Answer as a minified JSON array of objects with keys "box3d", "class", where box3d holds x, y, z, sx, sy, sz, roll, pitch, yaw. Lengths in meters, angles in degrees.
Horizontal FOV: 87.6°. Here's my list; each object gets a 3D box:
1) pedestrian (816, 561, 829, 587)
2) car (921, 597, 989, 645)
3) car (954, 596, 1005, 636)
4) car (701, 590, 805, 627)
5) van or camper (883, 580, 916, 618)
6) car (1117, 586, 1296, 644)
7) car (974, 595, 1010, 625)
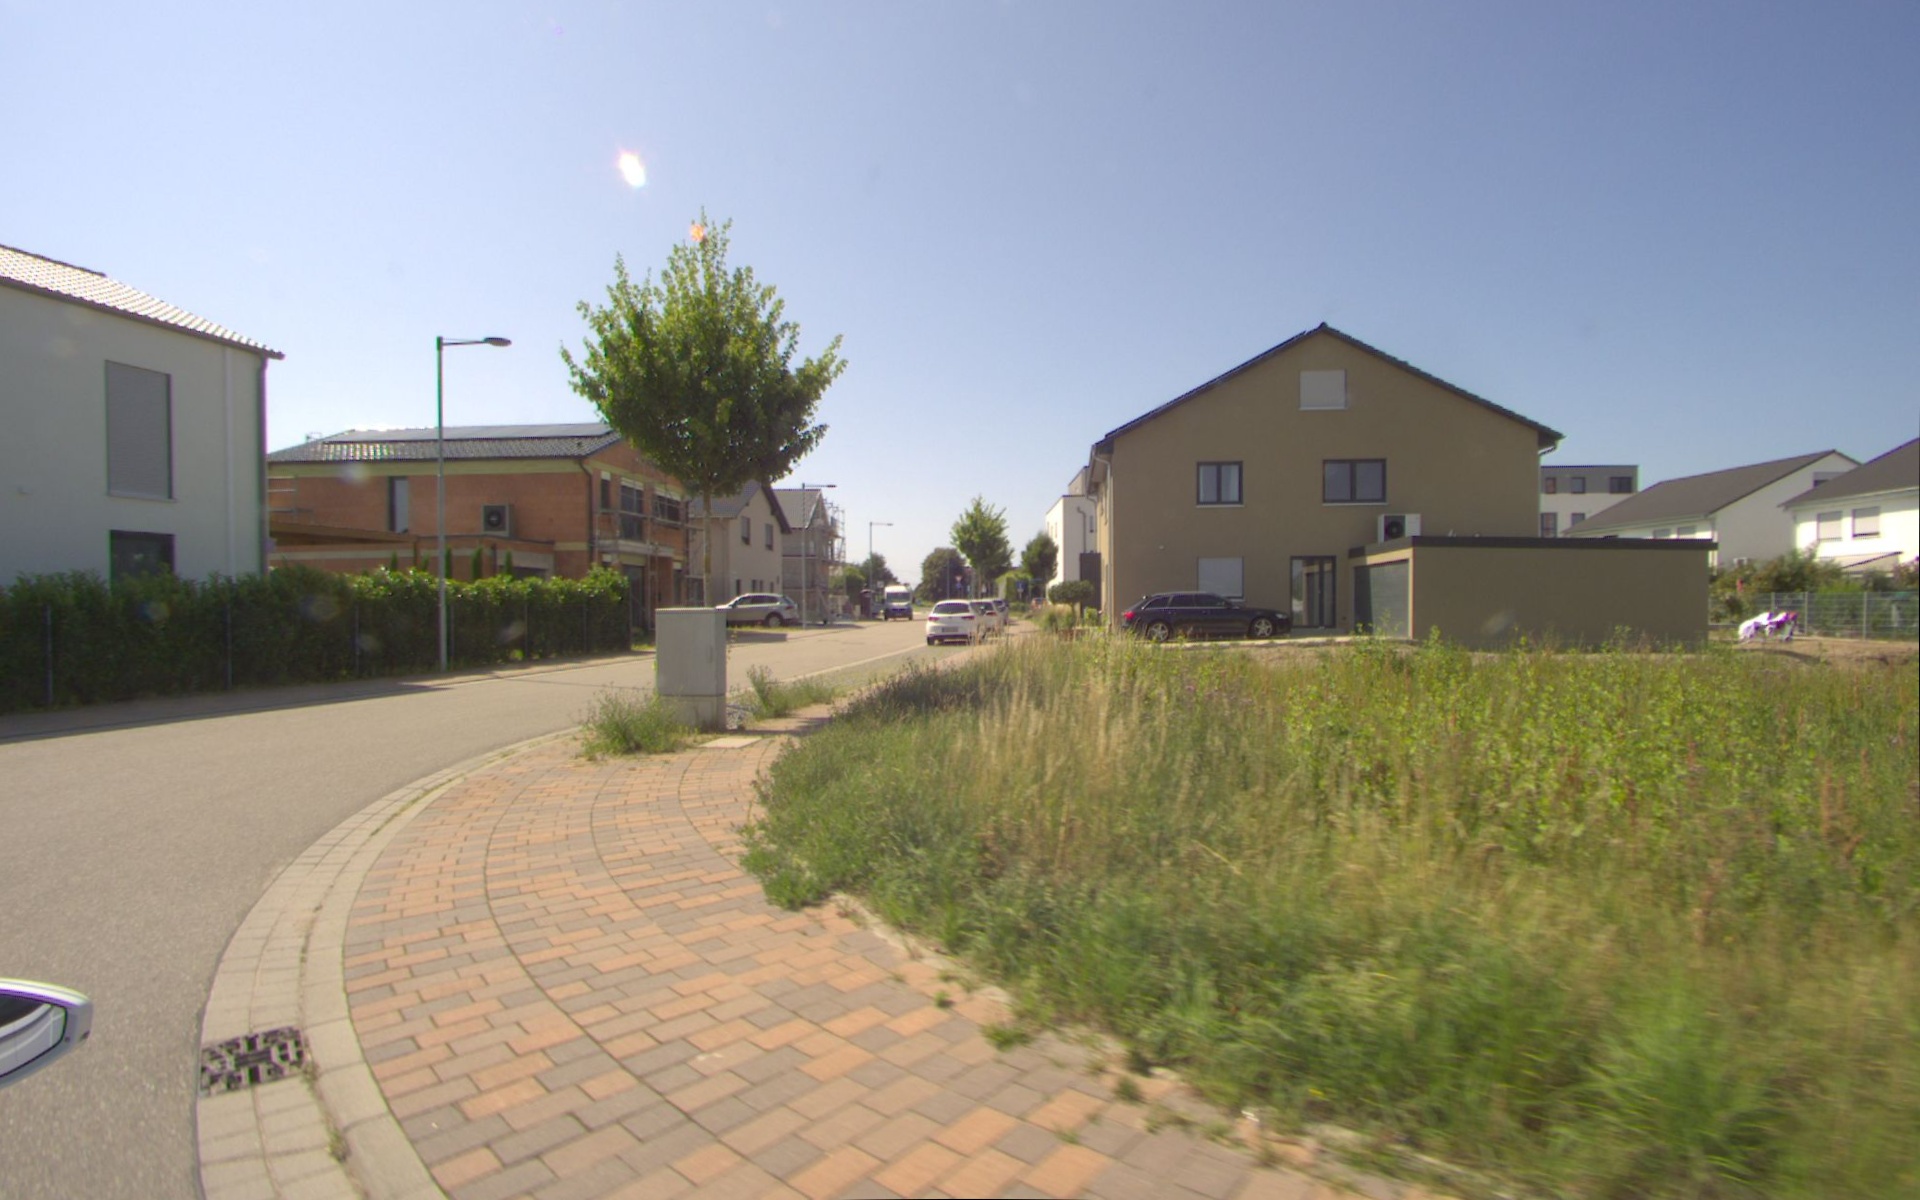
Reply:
[{"box3d":[-9.322,-1.742,67.882,0.740,1.701,0.573,1,-2,-40],"class":"pedestrian"},{"box3d":[-0.100,0.674,34.241,1.785,1.475,4.563,-1,0,6],"class":"car"},{"box3d":[0.841,0.615,40.682,1.751,1.445,4.512,-2,1,5],"class":"car"},{"box3d":[-9.584,0.404,46.578,4.352,1.633,2.000,-1,1,2],"class":"car"},{"box3d":[-4.397,-0.056,72.114,2.236,2.586,6.367,0,-1,-4],"class":"van or camper"},{"box3d":[7.034,0.432,29.063,4.810,1.445,1.999,-3,0,8],"class":"car"},{"box3d":[1.821,0.529,56.644,1.887,1.531,5.293,-2,1,2],"class":"car"}]
